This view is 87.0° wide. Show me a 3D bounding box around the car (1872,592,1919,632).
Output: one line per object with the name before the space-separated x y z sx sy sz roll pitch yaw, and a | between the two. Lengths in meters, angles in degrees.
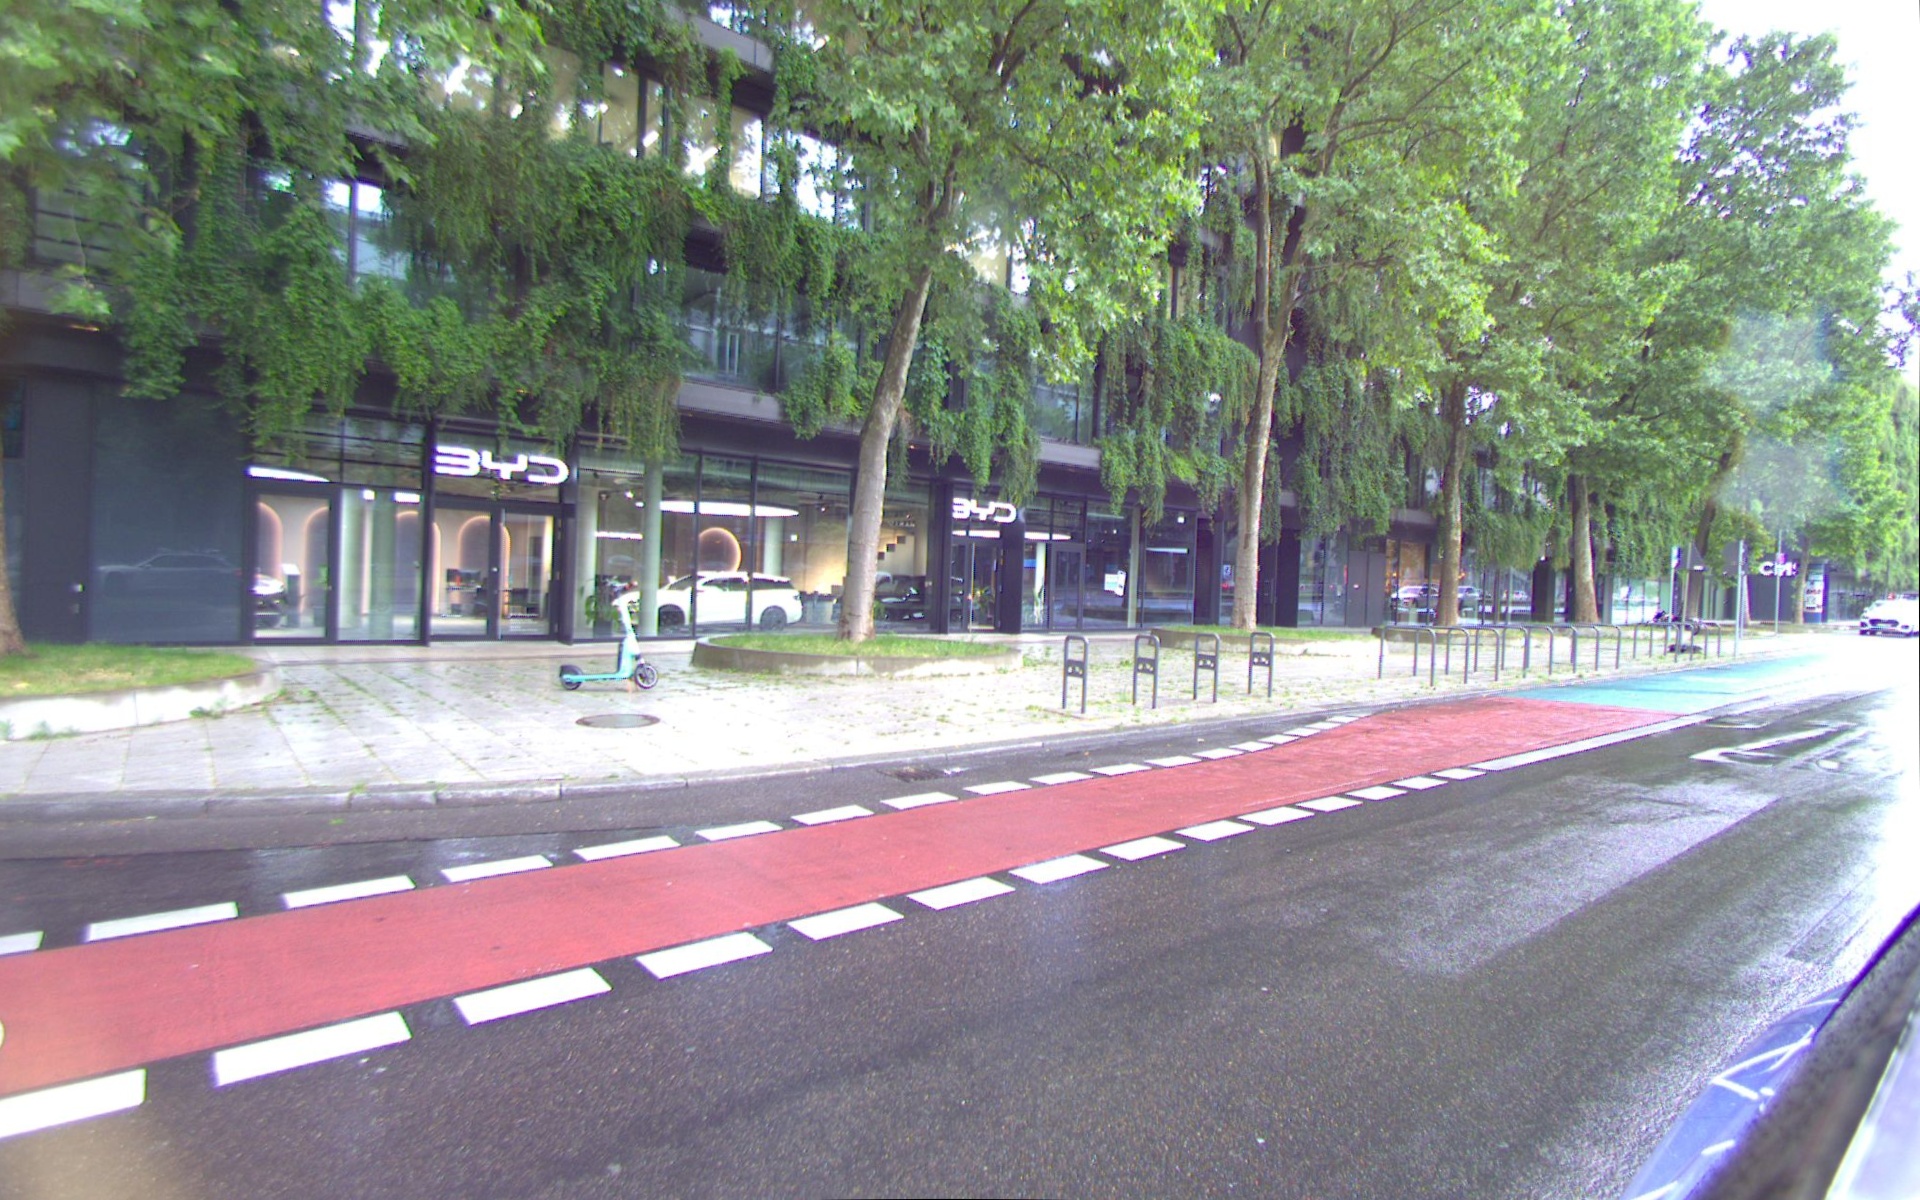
car | 44.606 0.527 47.659 4.519 1.757 1.931 -1 1 -41

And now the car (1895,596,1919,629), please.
car | 49.264 0.615 51.394 4.503 1.581 2.035 -1 1 -39

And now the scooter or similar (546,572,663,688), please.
scooter or similar | -4.078 0.330 11.633 1.165 1.298 0.535 0 0 10
